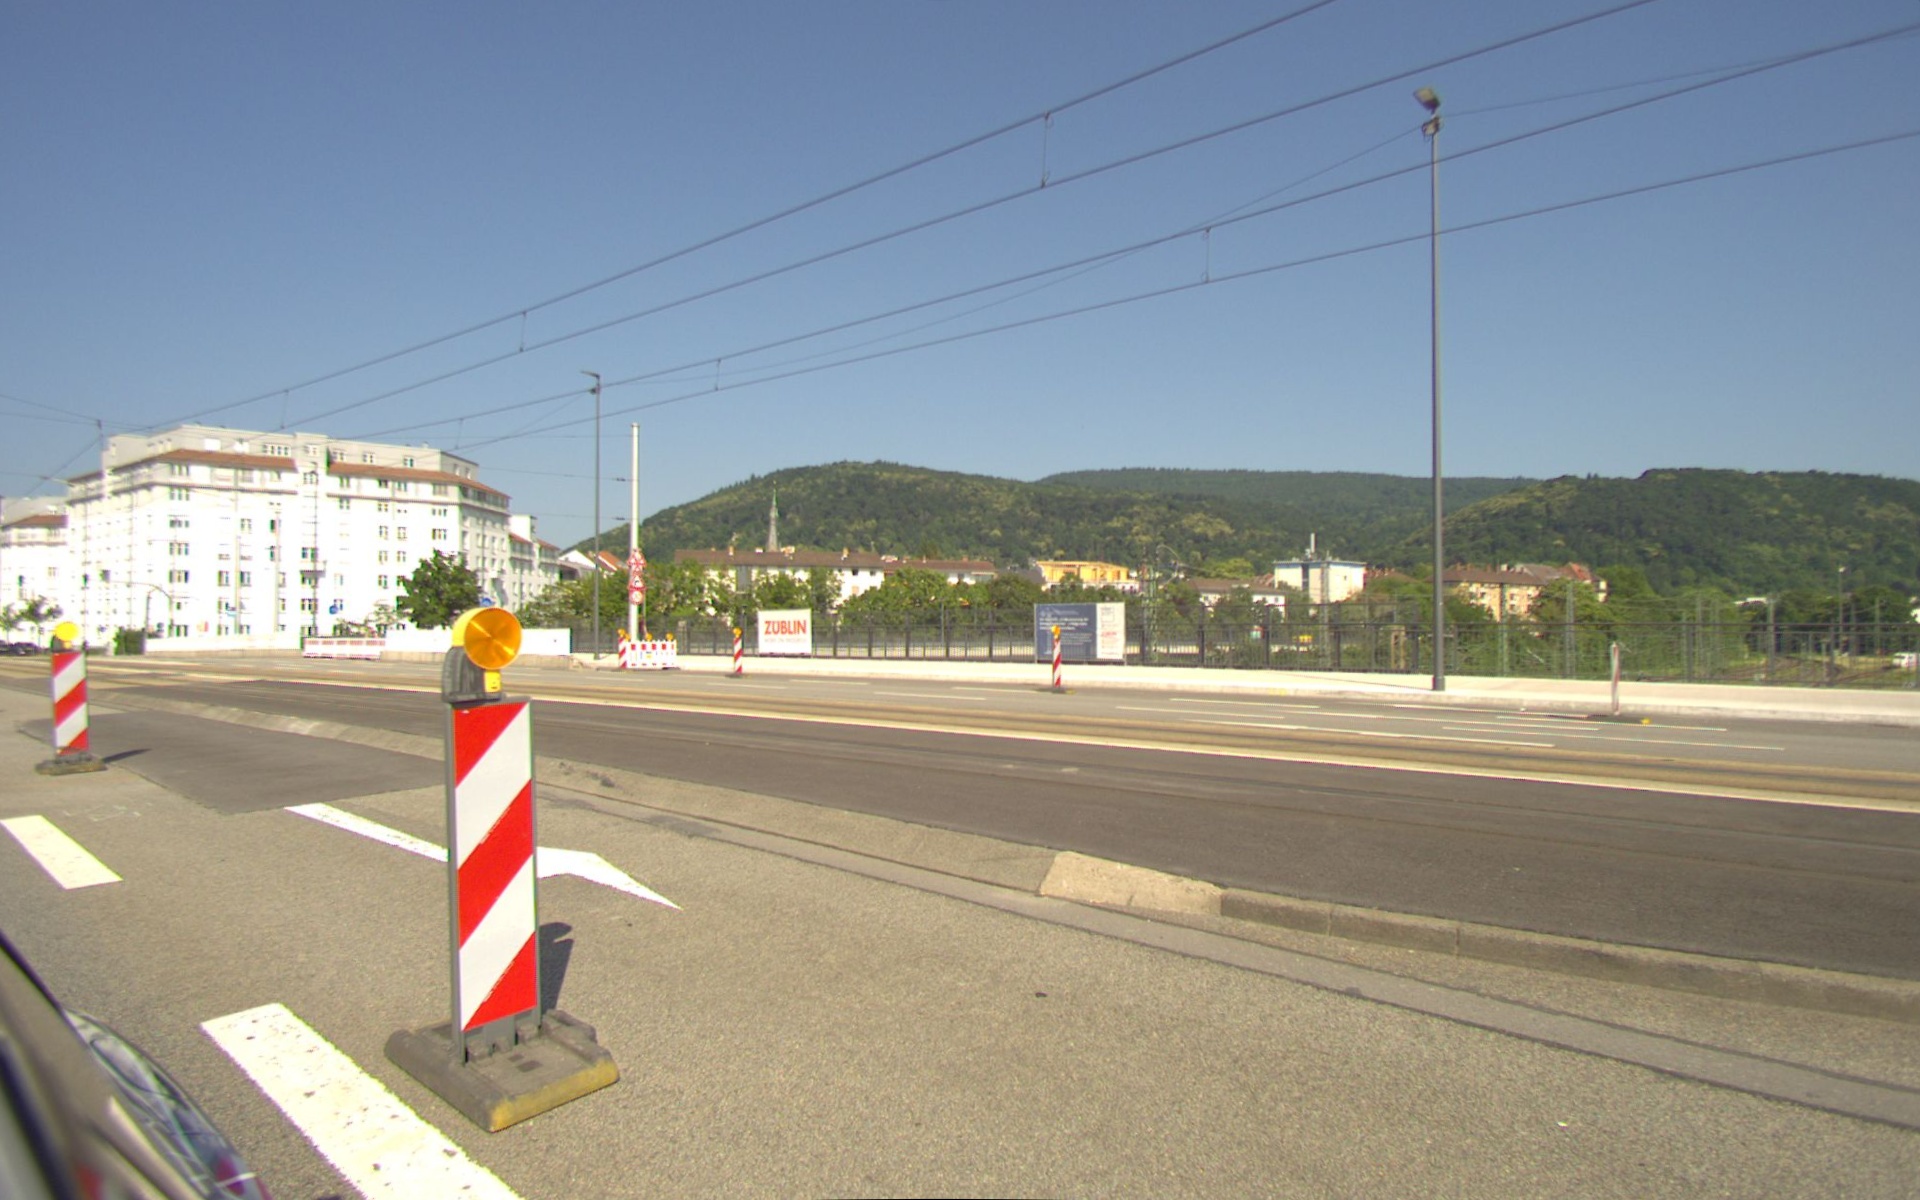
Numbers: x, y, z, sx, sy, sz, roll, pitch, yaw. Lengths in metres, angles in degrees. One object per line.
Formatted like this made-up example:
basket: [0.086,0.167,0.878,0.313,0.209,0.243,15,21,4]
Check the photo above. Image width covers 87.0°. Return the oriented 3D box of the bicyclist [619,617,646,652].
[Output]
bicyclist: [-14.664,1.543,45.358,0.816,1.530,0.847,-2,-1,40]

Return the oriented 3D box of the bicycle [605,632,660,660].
bicycle: [-14.704,2.043,45.394,3.070,1.204,0.847,-1,-1,40]
